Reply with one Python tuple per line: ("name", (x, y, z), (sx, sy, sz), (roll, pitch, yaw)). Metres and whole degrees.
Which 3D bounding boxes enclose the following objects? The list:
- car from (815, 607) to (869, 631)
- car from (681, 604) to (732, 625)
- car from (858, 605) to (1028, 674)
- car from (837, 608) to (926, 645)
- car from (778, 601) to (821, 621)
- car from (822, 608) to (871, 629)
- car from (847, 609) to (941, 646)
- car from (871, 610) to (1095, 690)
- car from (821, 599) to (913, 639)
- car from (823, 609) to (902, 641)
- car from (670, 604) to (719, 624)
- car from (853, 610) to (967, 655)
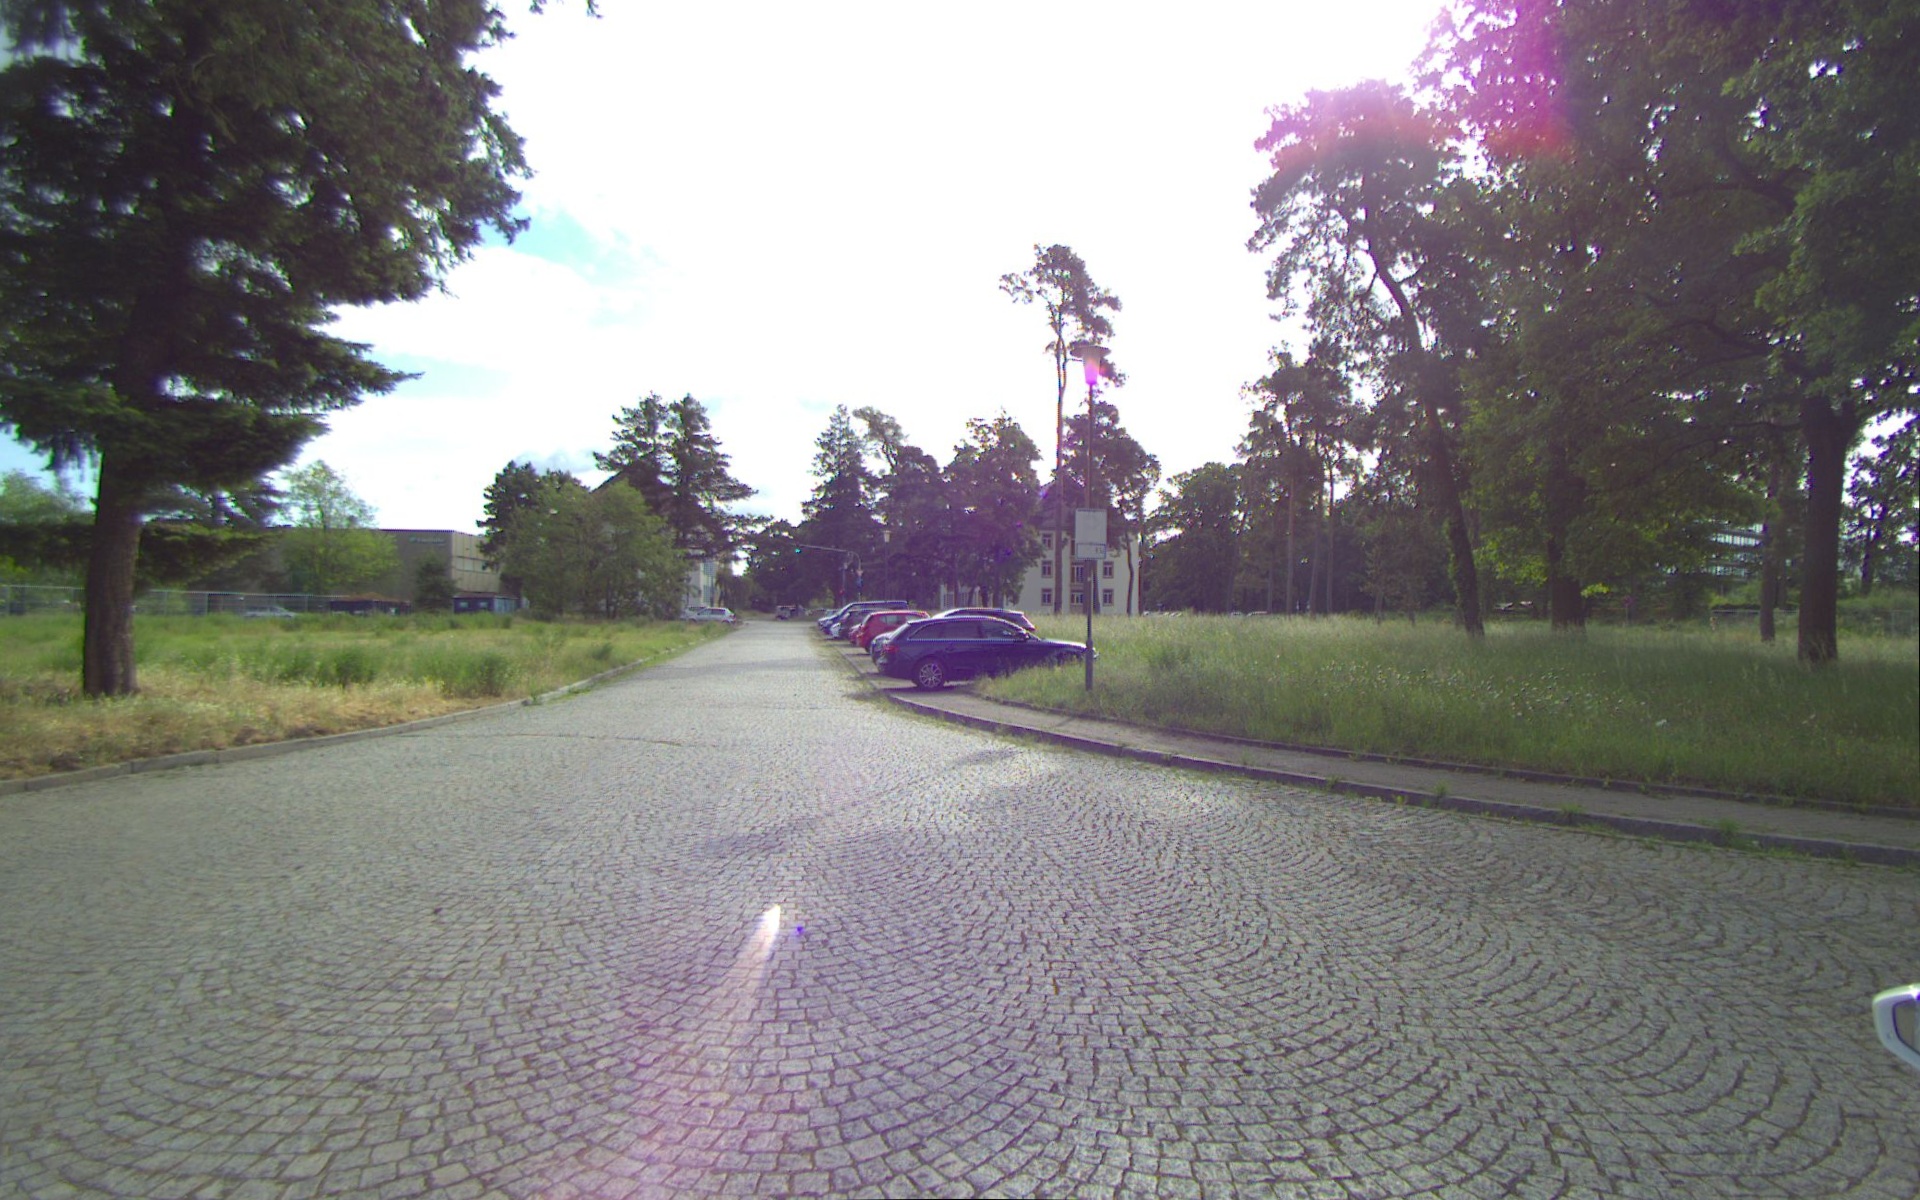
("car", (-8.481, 1.321, 72.186), (3.516, 1.507, 1.596), (-3, 1, -18))
("car", (-18.920, 1.069, 75.059), (3.668, 1.457, 1.622), (-2, 1, -14))
("car", (-0.471, 0.954, 25.354), (4.078, 1.594, 1.786), (0, 1, -11))
("car", (-3.589, 1.203, 45.608), (3.850, 1.625, 1.817), (1, -1, -12))
("car", (-22.874, 1.512, 143.230), (5.702, 2.597, 2.761), (-3, 1, -15))
("car", (-8.782, 1.431, 77.702), (3.402, 1.451, 1.621), (-3, 1, -20))
("car", (-2.849, 1.151, 43.090), (3.882, 1.540, 1.704), (0, -1, -10))
("car", (0.404, 0.976, 20.444), (4.362, 1.499, 1.680), (0, 0, -6))
("car", (-5.064, 0.989, 54.453), (4.751, 1.891, 2.157), (-3, 1, -12))
("car", (-5.050, 1.251, 51.930), (3.863, 1.411, 1.739), (-3, 1, -12))
("car", (-21.200, 1.096, 80.059), (3.672, 1.457, 1.620), (-2, 1, -18))
("car", (-1.776, 1.116, 35.394), (3.827, 1.498, 1.668), (-1, 0, -10))
